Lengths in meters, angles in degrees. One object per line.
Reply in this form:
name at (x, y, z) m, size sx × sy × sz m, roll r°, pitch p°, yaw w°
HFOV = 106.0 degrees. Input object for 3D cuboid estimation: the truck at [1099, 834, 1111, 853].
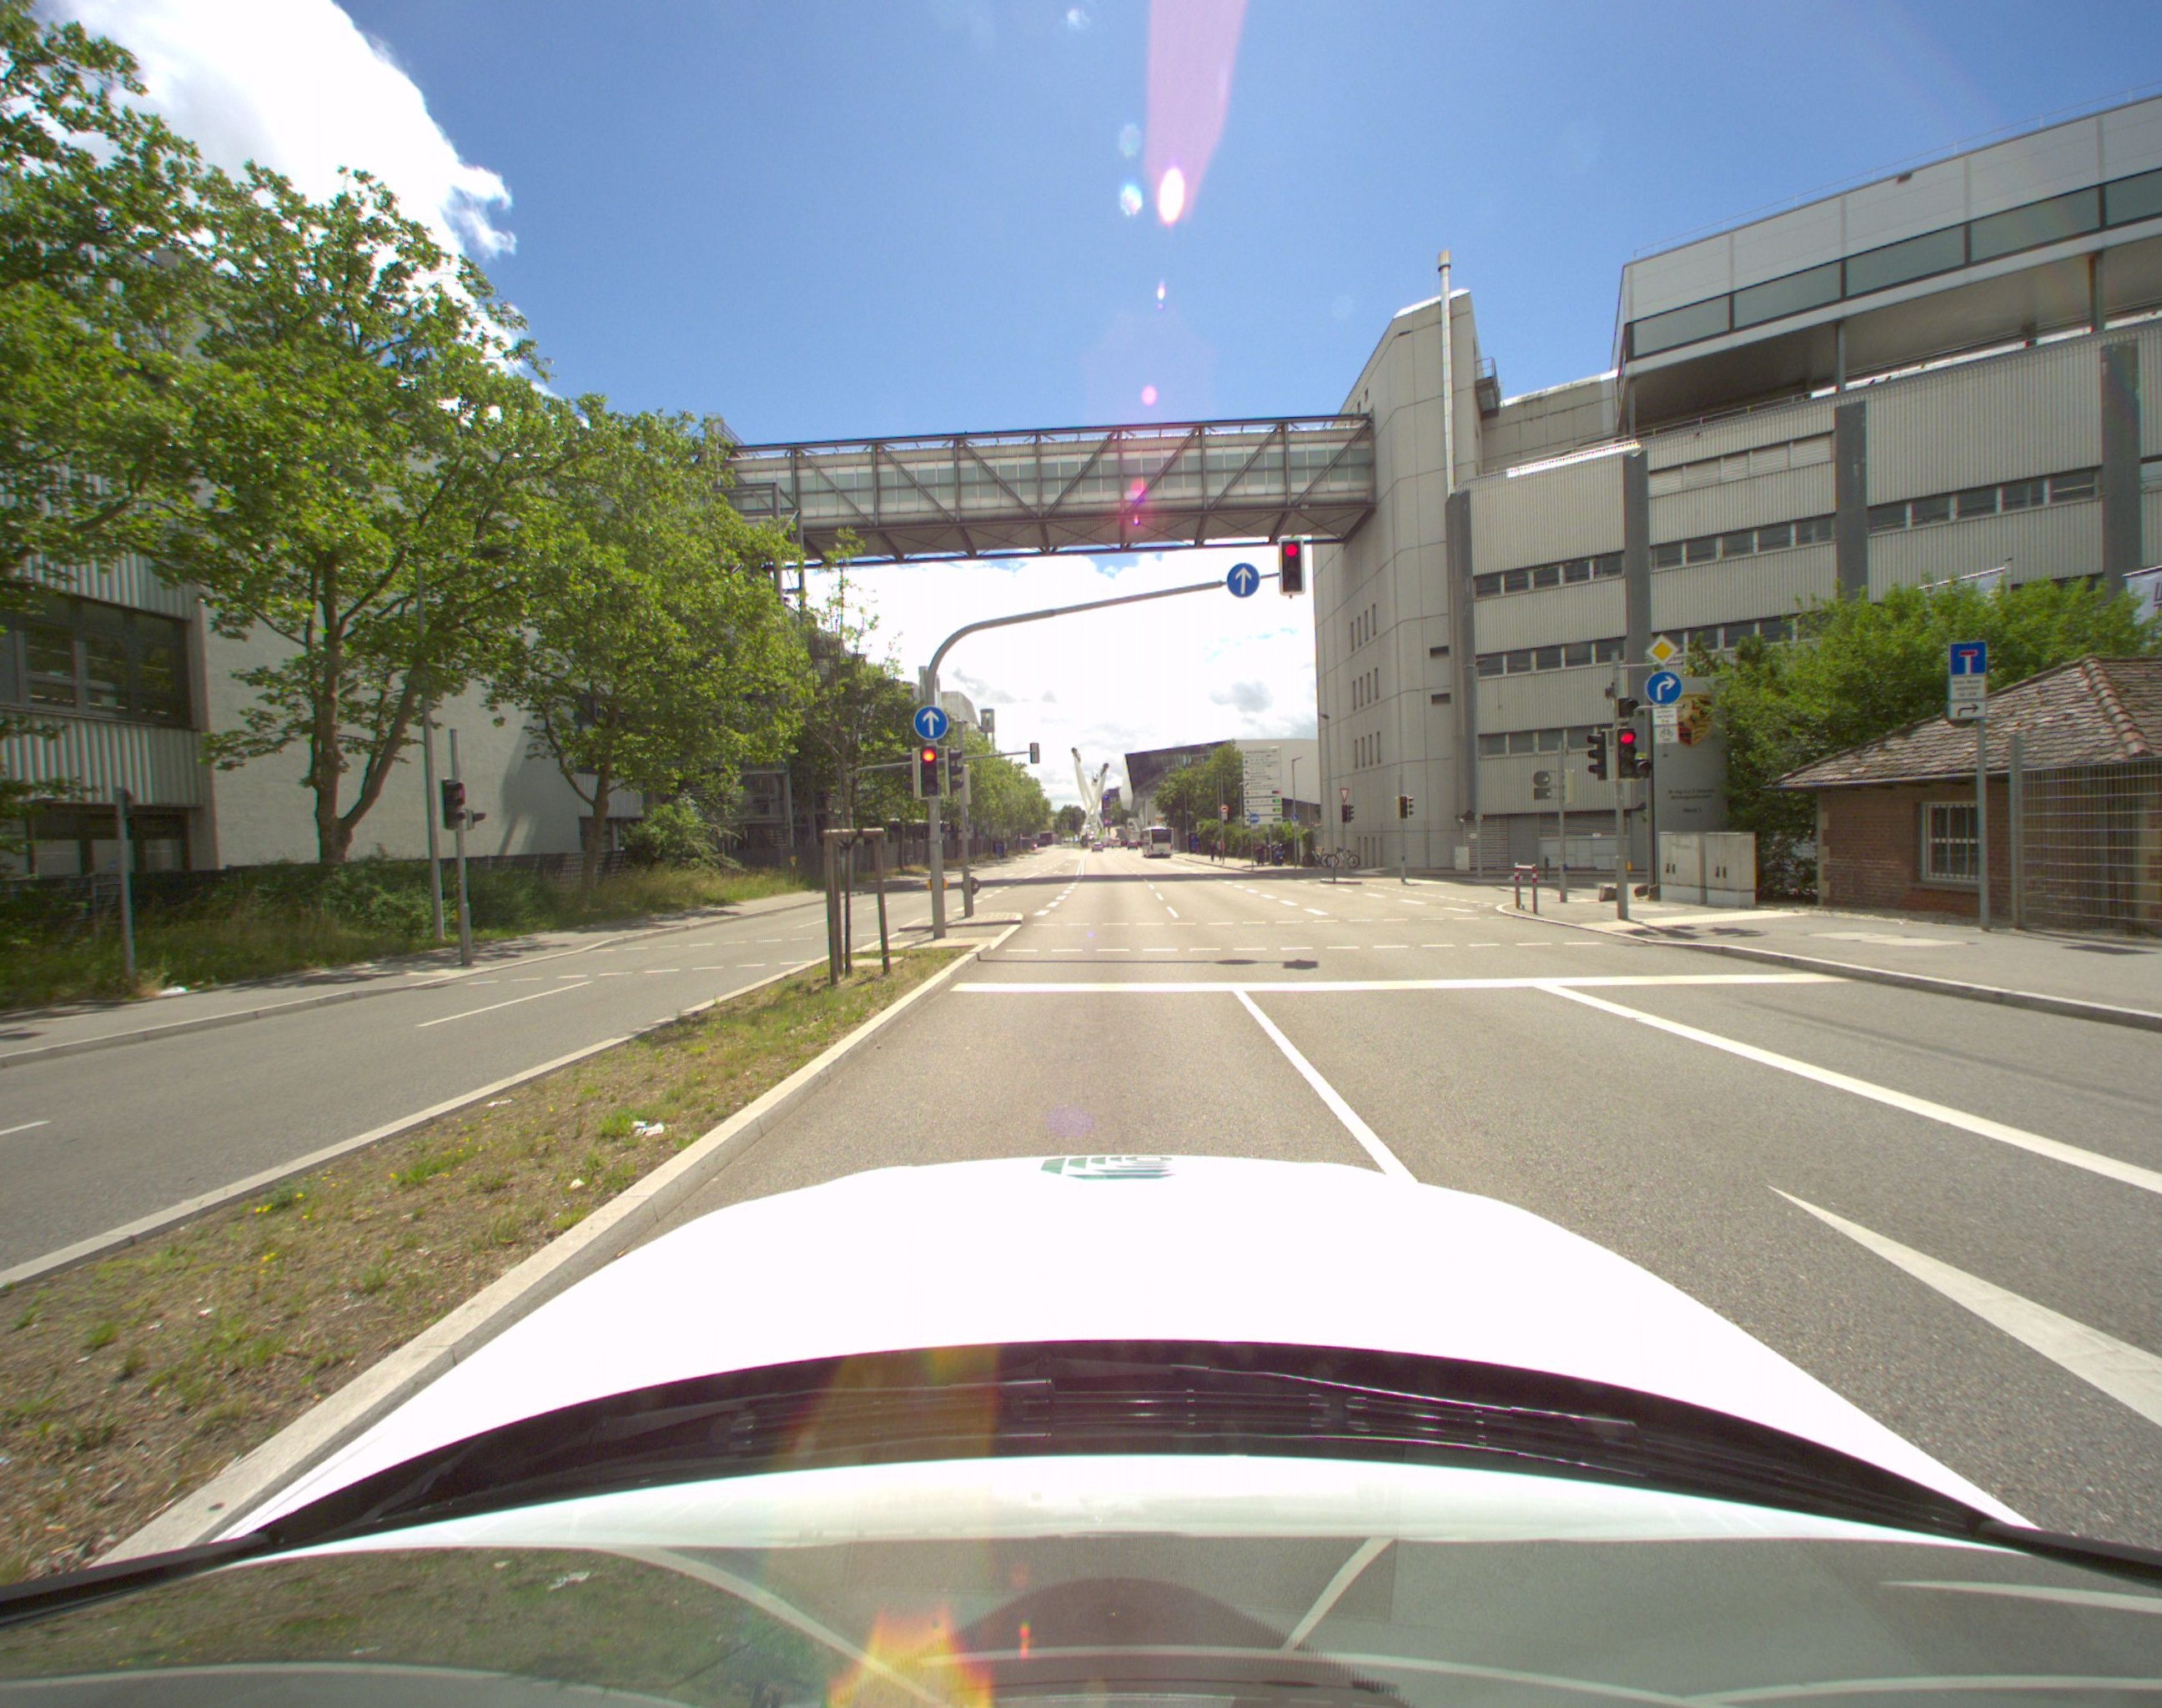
truck at (5.183, -2.221, 176.814) m, size 2.383 × 3.897 × 6.180 m, roll -1°, pitch 0°, yaw 2°

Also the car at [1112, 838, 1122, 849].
car at (7.247, -2.168, 166.132) m, size 1.986 × 2.014 × 4.001 m, roll 0°, pitch -1°, yaw 2°

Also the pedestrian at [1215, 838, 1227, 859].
pedestrian at (11.413, -0.442, 66.423) m, size 0.817 × 1.741 × 0.637 m, roll -1°, pitch 0°, yaw 1°

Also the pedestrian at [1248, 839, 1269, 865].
pedestrian at (10.992, -0.132, 50.430) m, size 0.839 × 1.624 × 0.962 m, roll -1°, pitch 0°, yaw 43°

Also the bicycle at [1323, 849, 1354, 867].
bicycle at (13.623, 0.225, 43.193) m, size 0.399 × 0.937 × 1.913 m, roll -1°, pitch 0°, yaw -24°

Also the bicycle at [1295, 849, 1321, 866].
bicycle at (12.678, 0.190, 45.504) m, size 0.398 × 0.937 × 1.917 m, roll -1°, pitch 0°, yaw -17°

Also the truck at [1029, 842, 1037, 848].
truck at (-12.599, -2.251, 213.626) m, size 1.583 × 1.537 × 3.665 m, roll -1°, pitch 0°, yaw -11°

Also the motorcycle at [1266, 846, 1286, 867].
motorcycle at (11.845, 0.116, 49.449) m, size 0.703 × 1.203 × 2.025 m, roll -3°, pitch 1°, yaw 2°

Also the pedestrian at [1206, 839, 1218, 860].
pedestrian at (10.699, -0.354, 66.372) m, size 0.817 × 1.707 × 0.881 m, roll -1°, pitch 0°, yaw 1°

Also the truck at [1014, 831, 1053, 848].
truck at (-13.100, -4.017, 226.354) m, size 3.528 × 4.324 × 12.244 m, roll -1°, pitch -1°, yaw 39°

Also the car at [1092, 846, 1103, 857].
car at (2.648, -0.460, 131.427) m, size 1.732 × 1.741 × 3.693 m, roll -1°, pitch 0°, yaw 2°

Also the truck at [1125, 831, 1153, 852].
truck at (12.640, -2.608, 176.064) m, size 3.424 × 4.391 × 9.467 m, roll -1°, pitch 0°, yaw 19°

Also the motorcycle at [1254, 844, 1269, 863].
motorcycle at (12.663, -0.046, 57.240) m, size 0.572 × 1.203 × 2.025 m, roll -3°, pitch 1°, yaw 2°

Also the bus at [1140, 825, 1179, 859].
bus at (8.676, -1.314, 91.221) m, size 3.441 × 3.543 × 10.607 m, roll -1°, pitch 0°, yaw 1°

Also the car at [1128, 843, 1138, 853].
car at (9.295, -1.064, 146.074) m, size 1.732 × 1.741 × 3.693 m, roll -1°, pitch 0°, yaw 2°
